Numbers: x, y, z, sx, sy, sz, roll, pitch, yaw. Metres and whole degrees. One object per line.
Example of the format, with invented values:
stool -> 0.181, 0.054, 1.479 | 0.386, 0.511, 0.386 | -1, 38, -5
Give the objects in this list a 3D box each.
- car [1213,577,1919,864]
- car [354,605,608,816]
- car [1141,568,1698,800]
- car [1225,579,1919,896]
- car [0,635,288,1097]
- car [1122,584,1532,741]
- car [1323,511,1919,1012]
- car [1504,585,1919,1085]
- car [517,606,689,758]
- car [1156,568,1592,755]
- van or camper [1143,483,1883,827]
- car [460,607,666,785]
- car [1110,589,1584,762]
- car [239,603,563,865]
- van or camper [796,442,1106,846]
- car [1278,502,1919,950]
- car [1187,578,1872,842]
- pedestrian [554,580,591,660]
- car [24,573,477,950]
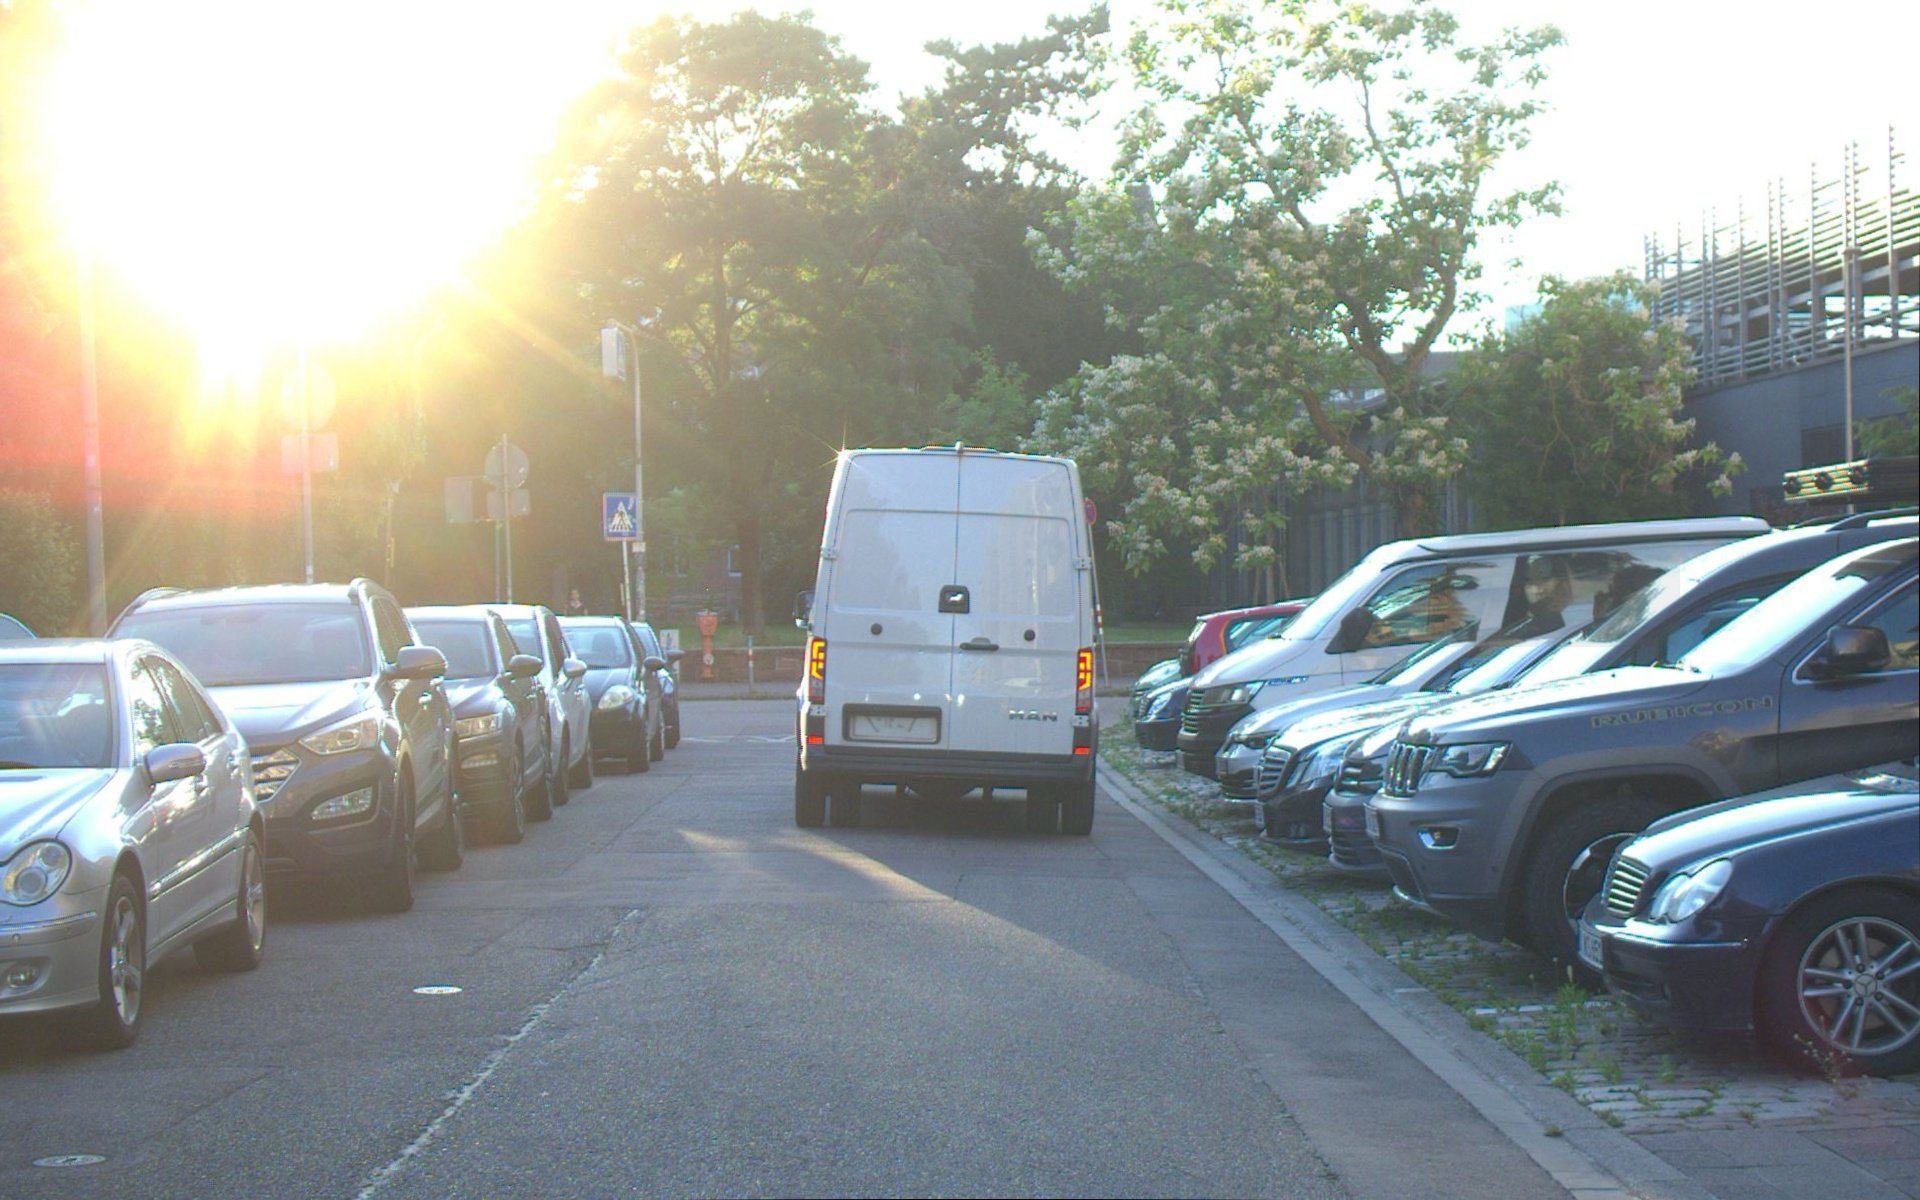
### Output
car -> 3.890, 0.743, 21.539 | 4.403, 1.587, 1.845 | -2, -2, -1
car -> -3.905, 0.854, 28.585 | 1.733, 1.562, 4.130 | -2, 0, -3
car -> 3.817, 0.716, 29.048 | 4.325, 1.656, 1.781 | -3, -2, -3
car -> 3.780, 0.740, 19.097 | 4.403, 1.558, 1.845 | -2, -2, -1
car -> -3.755, 0.898, 13.146 | 1.733, 1.422, 4.287 | -2, 0, -3
car -> 4.173, 0.733, 39.549 | 4.403, 1.626, 1.846 | -2, -2, -3
car -> 3.889, 0.583, 14.150 | 4.512, 1.857, 1.846 | -2, 0, -1
car -> 4.220, 0.716, 11.762 | 4.403, 1.549, 1.845 | -2, -2, 2
car -> -3.986, 0.882, 38.843 | 1.733, 1.562, 3.791 | -2, 0, -3
car -> 4.391, 0.651, 36.985 | 4.404, 1.626, 1.845 | -5, 0, 2
van or camper -> 4.119, 0.411, 26.235 | 5.132, 2.160, 2.040 | -4, -1, -2
car -> -3.789, 0.879, 33.293 | 1.733, 1.562, 3.697 | -2, 0, -3
car -> 3.801, 0.764, 34.280 | 4.403, 1.526, 1.846 | -2, -2, -3
car -> -3.716, 0.834, 23.467 | 1.733, 1.562, 4.168 | -2, 0, -3
van or camper -> -0.100, 0.290, 25.473 | 1.993, 2.609, 6.403 | 0, 0, -1
car -> 4.003, 0.579, 16.798 | 4.636, 1.975, 1.845 | -2, -2, -1
car -> 3.882, 0.767, 23.991 | 4.403, 1.626, 1.845 | -2, -2, -1
pedestrian -> -7.972, 0.410, 70.783 | 0.646, 1.643, 0.674 | 1, 0, 0
car -> -3.656, 0.761, 18.427 | 1.733, 1.724, 4.323 | -2, 0, -3
